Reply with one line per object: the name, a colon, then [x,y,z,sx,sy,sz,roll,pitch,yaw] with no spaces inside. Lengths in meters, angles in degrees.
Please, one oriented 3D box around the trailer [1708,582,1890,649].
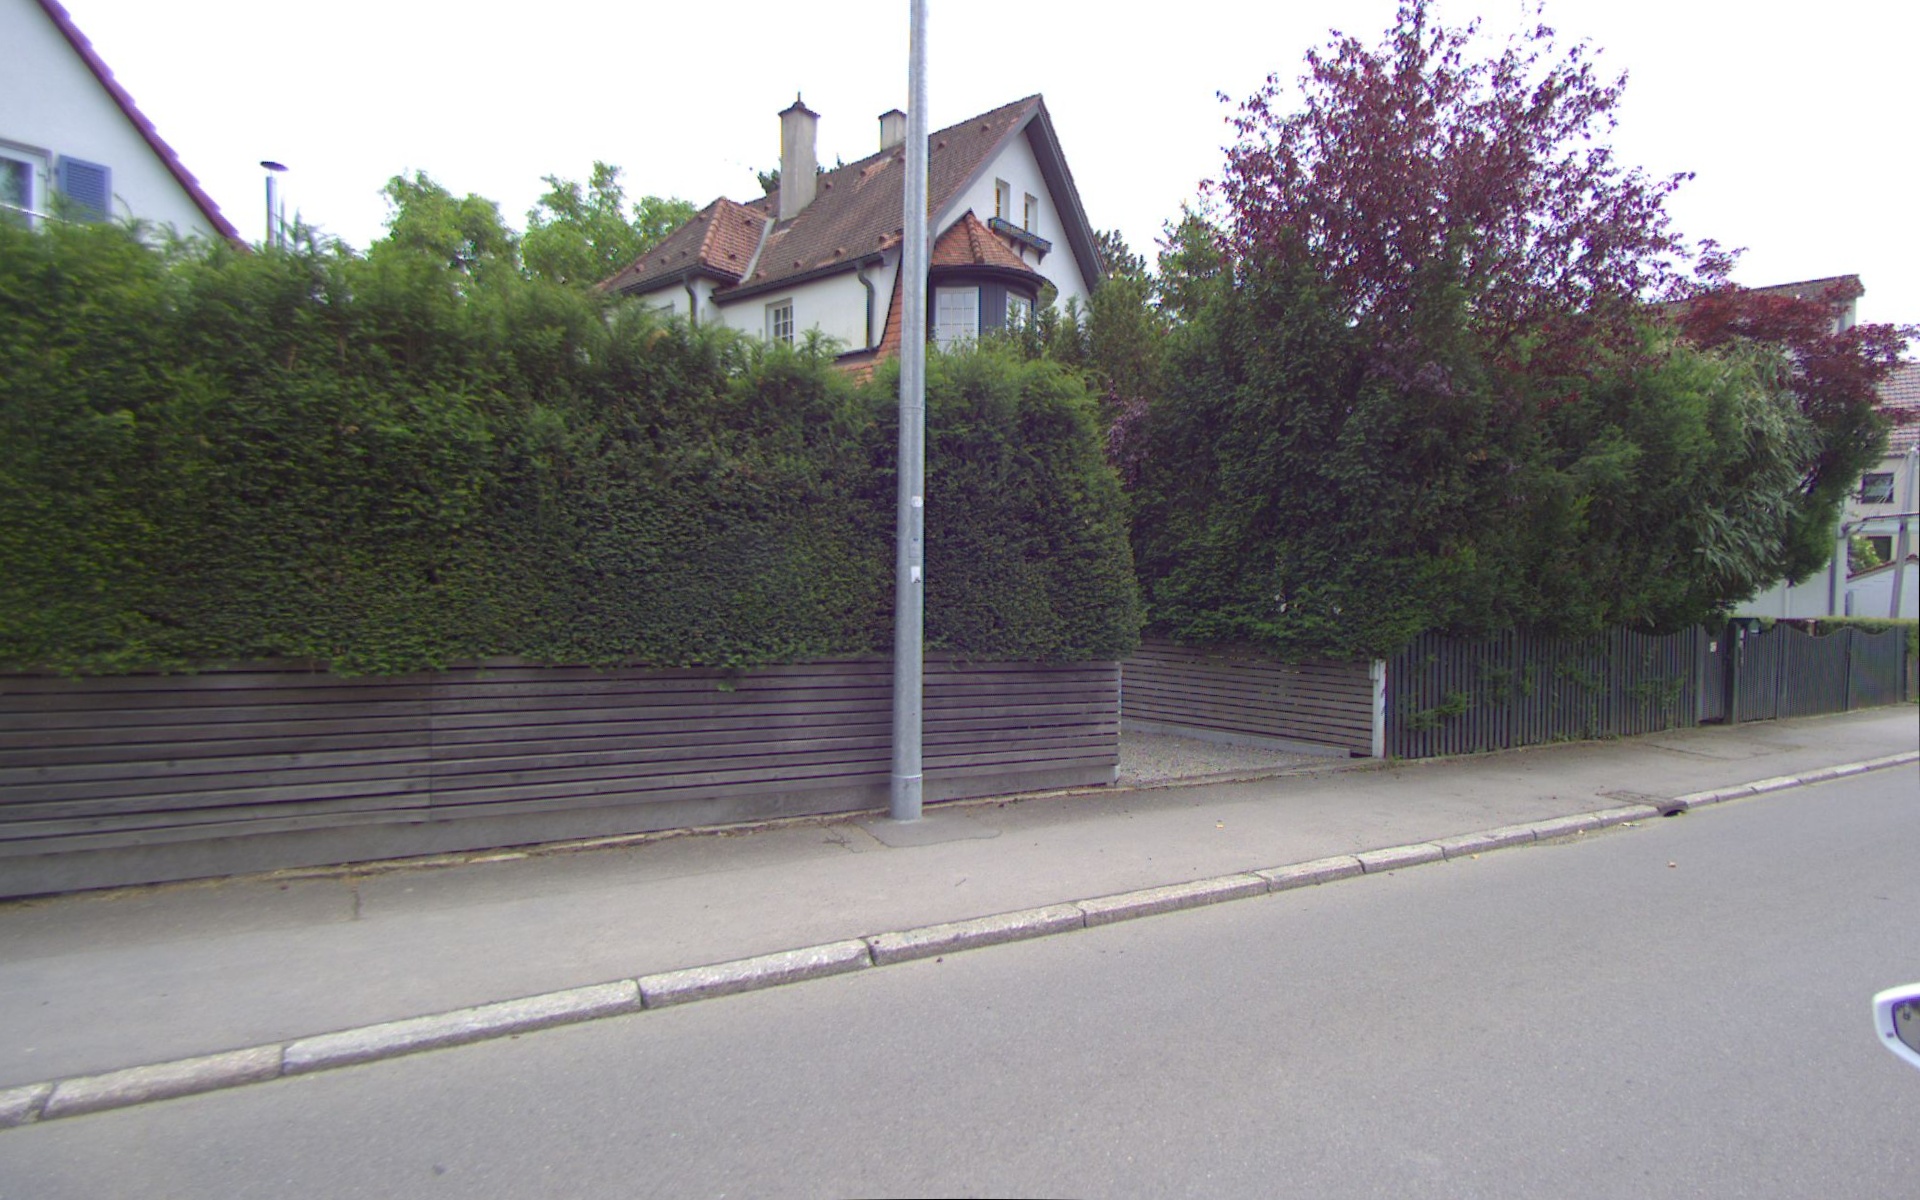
trailer: [30.788,0.499,37.007,1.690,2.108,4.820,-1,4,-40]
